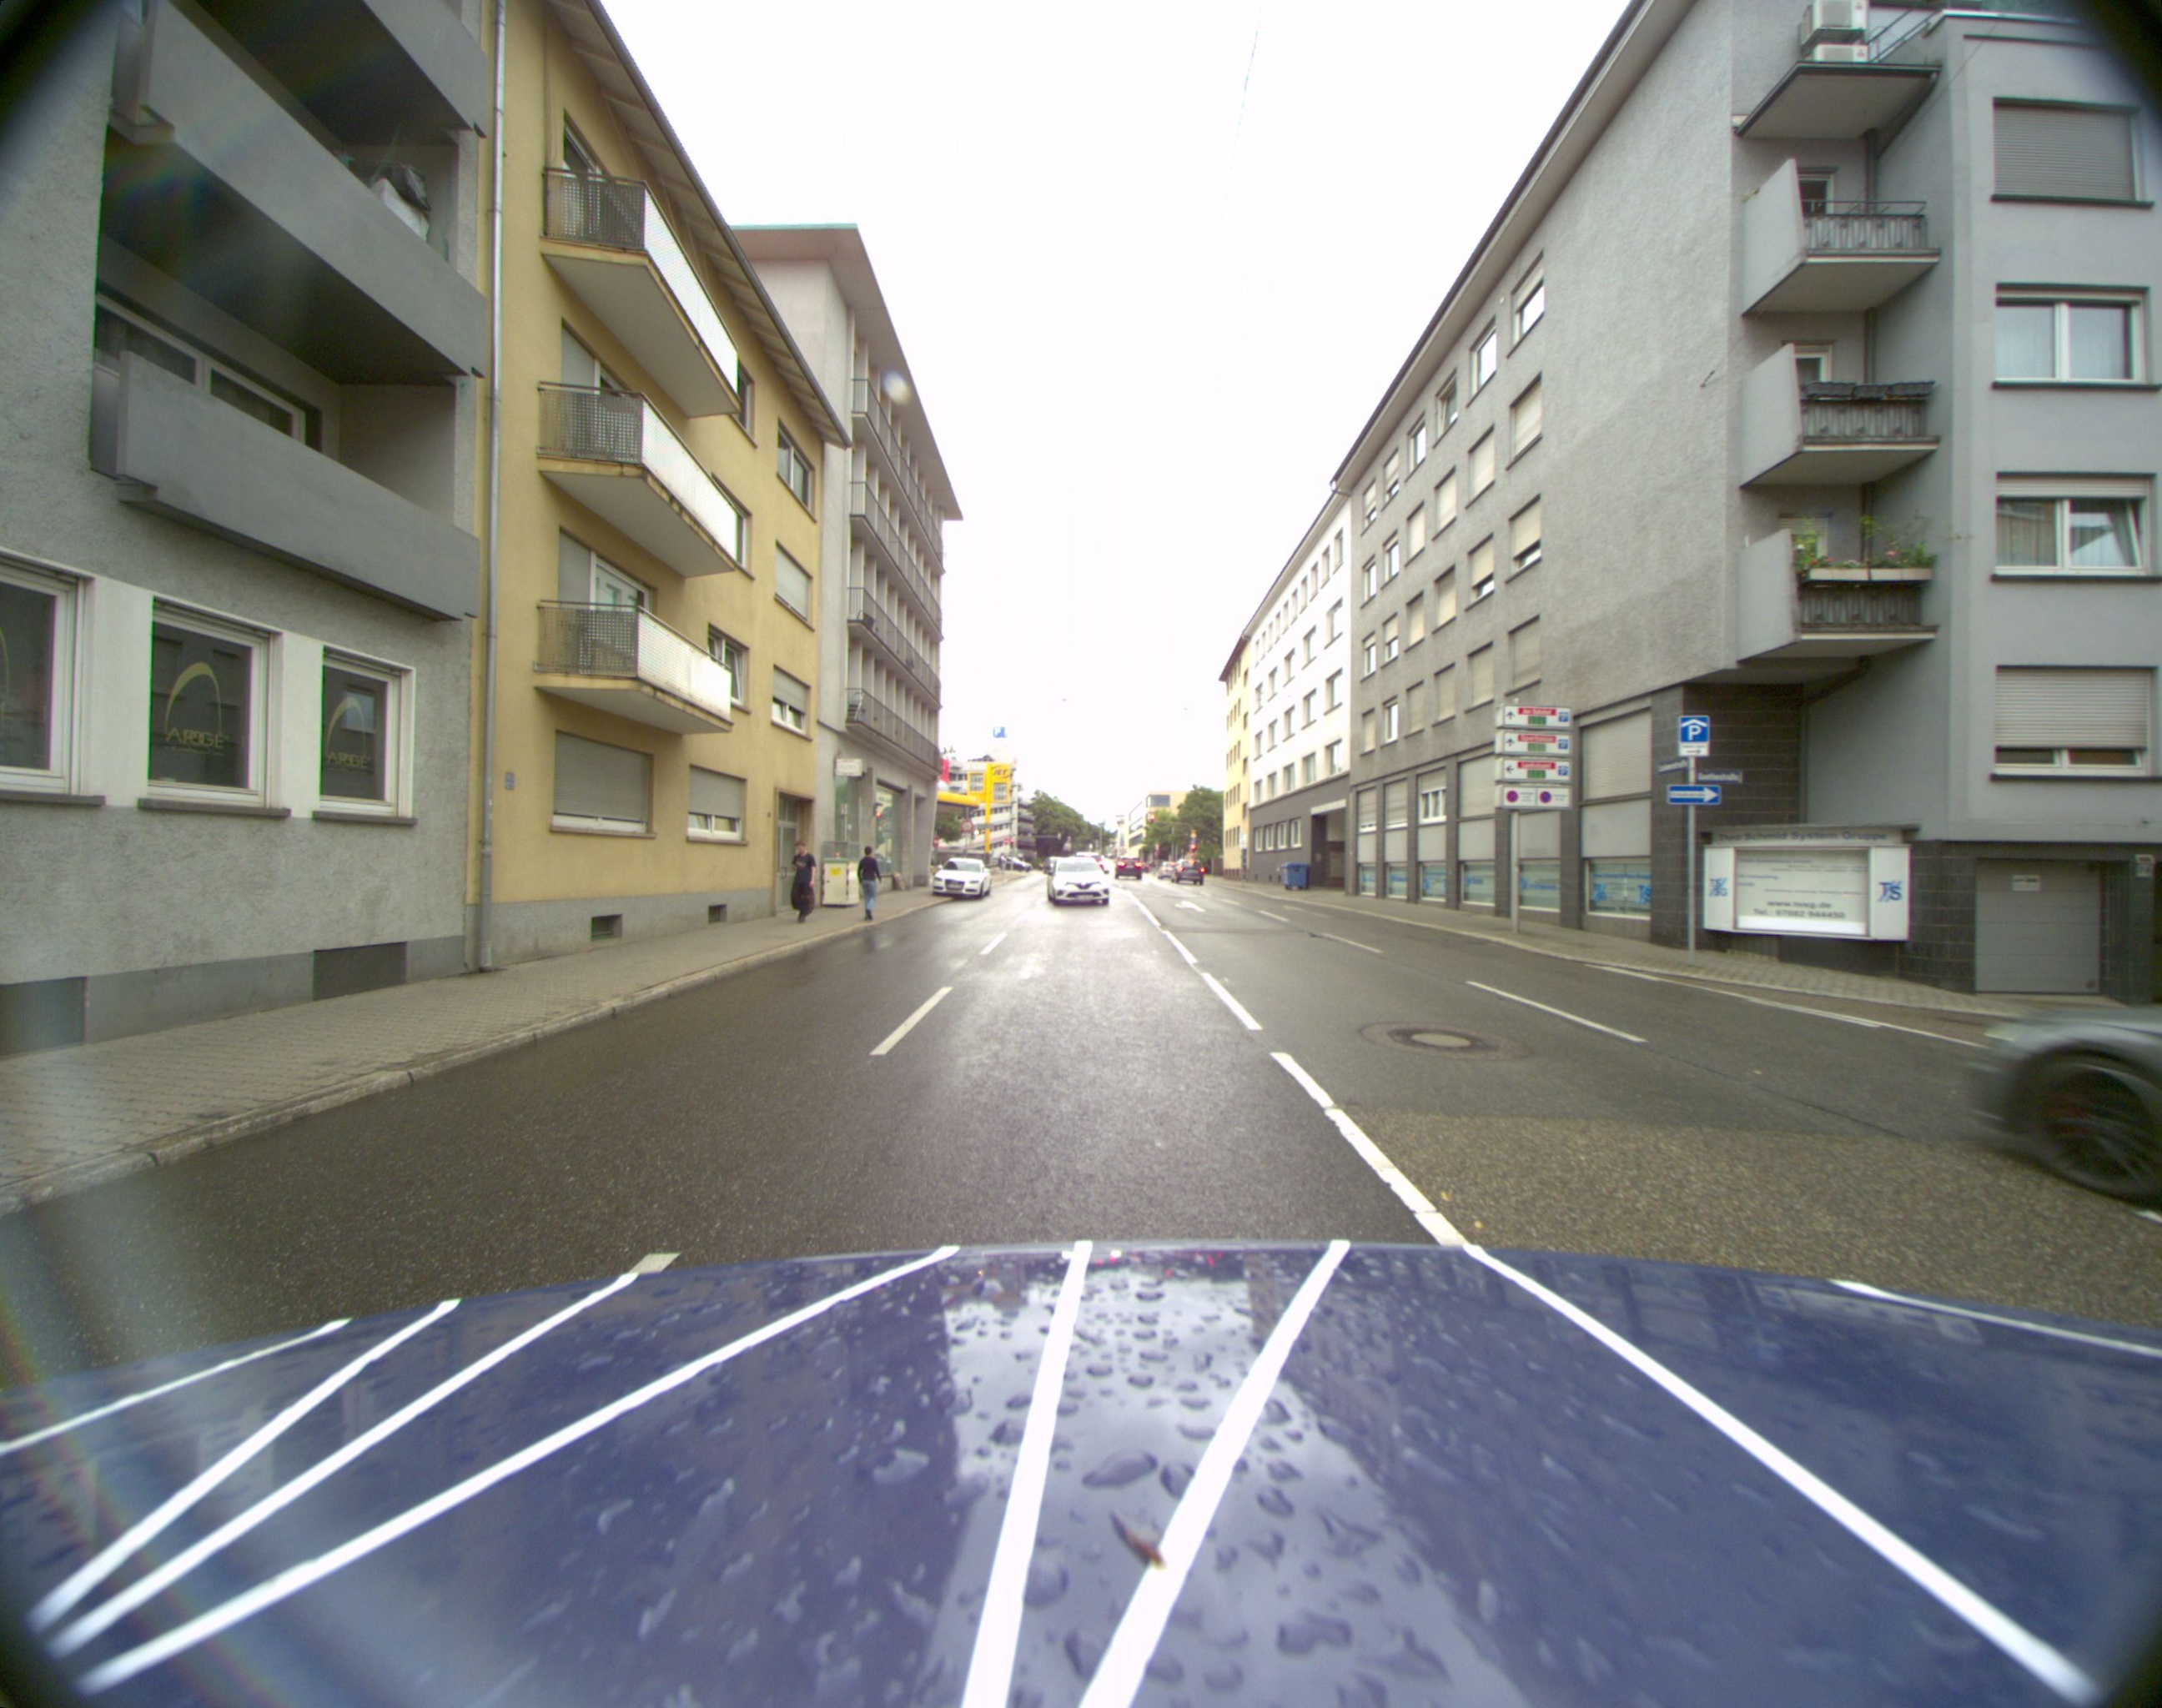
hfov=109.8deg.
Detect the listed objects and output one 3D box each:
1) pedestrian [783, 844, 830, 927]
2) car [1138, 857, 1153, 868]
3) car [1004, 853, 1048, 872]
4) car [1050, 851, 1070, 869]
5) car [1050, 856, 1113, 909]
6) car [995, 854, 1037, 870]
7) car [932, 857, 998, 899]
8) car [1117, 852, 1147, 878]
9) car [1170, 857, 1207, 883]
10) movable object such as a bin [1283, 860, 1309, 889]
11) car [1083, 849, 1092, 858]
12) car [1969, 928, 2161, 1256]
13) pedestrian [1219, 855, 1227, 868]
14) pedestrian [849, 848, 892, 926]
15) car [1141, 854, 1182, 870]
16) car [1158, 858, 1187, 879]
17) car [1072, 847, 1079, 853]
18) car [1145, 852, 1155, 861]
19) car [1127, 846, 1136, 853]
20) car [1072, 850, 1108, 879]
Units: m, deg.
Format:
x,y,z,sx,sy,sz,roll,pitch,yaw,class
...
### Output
x,y,z,sx,sy,sz,roll,pitch,yaw,class
-5.979,0.665,16.561,0.679,1.745,0.888,1,1,1,pedestrian
9.581,1.299,112.786,1.883,1.580,4.373,0,0,1,car
-5.524,0.817,76.407,3.994,1.751,2.001,1,1,9,car
-1.986,0.531,72.604,1.771,1.638,4.000,2,0,0,car
-0.061,0.833,24.369,1.771,1.465,3.999,-2,0,-3,car
-6.744,0.837,79.306,3.994,1.436,1.773,-2,1,10,car
-4.360,0.857,29.080,1.803,1.427,4.166,1,0,1,car
3.647,0.785,55.297,1.841,1.717,4.474,3,0,0,car
6.894,0.982,49.085,1.707,1.498,4.159,3,0,0,car
10.392,0.994,36.758,0.946,1.325,1.096,-3,1,1,movable object such as a bin
1.546,-0.214,178.745,1.998,2.002,3.999,-2,1,1,car
5.537,1.119,2.022,1.771,1.338,3.889,4,0,2,car
13.054,0.671,69.887,0.582,1.143,0.407,3,1,2,pedestrian
-4.965,0.749,17.996,0.644,1.768,1.056,3,1,0,pedestrian
8.184,0.803,77.713,3.996,1.485,1.772,-2,1,1,car
7.426,1.159,62.143,1.883,1.580,4.373,0,0,1,car
-1.869,-1.347,257.741,1.998,1.827,3.999,-2,1,1,car
15.394,0.590,170.067,1.998,1.863,3.999,-2,1,0,car
12.868,-1.110,192.905,1.998,1.683,4.000,-2,1,2,car
0.550,0.664,49.169,2.132,1.711,4.817,2,0,0,car
